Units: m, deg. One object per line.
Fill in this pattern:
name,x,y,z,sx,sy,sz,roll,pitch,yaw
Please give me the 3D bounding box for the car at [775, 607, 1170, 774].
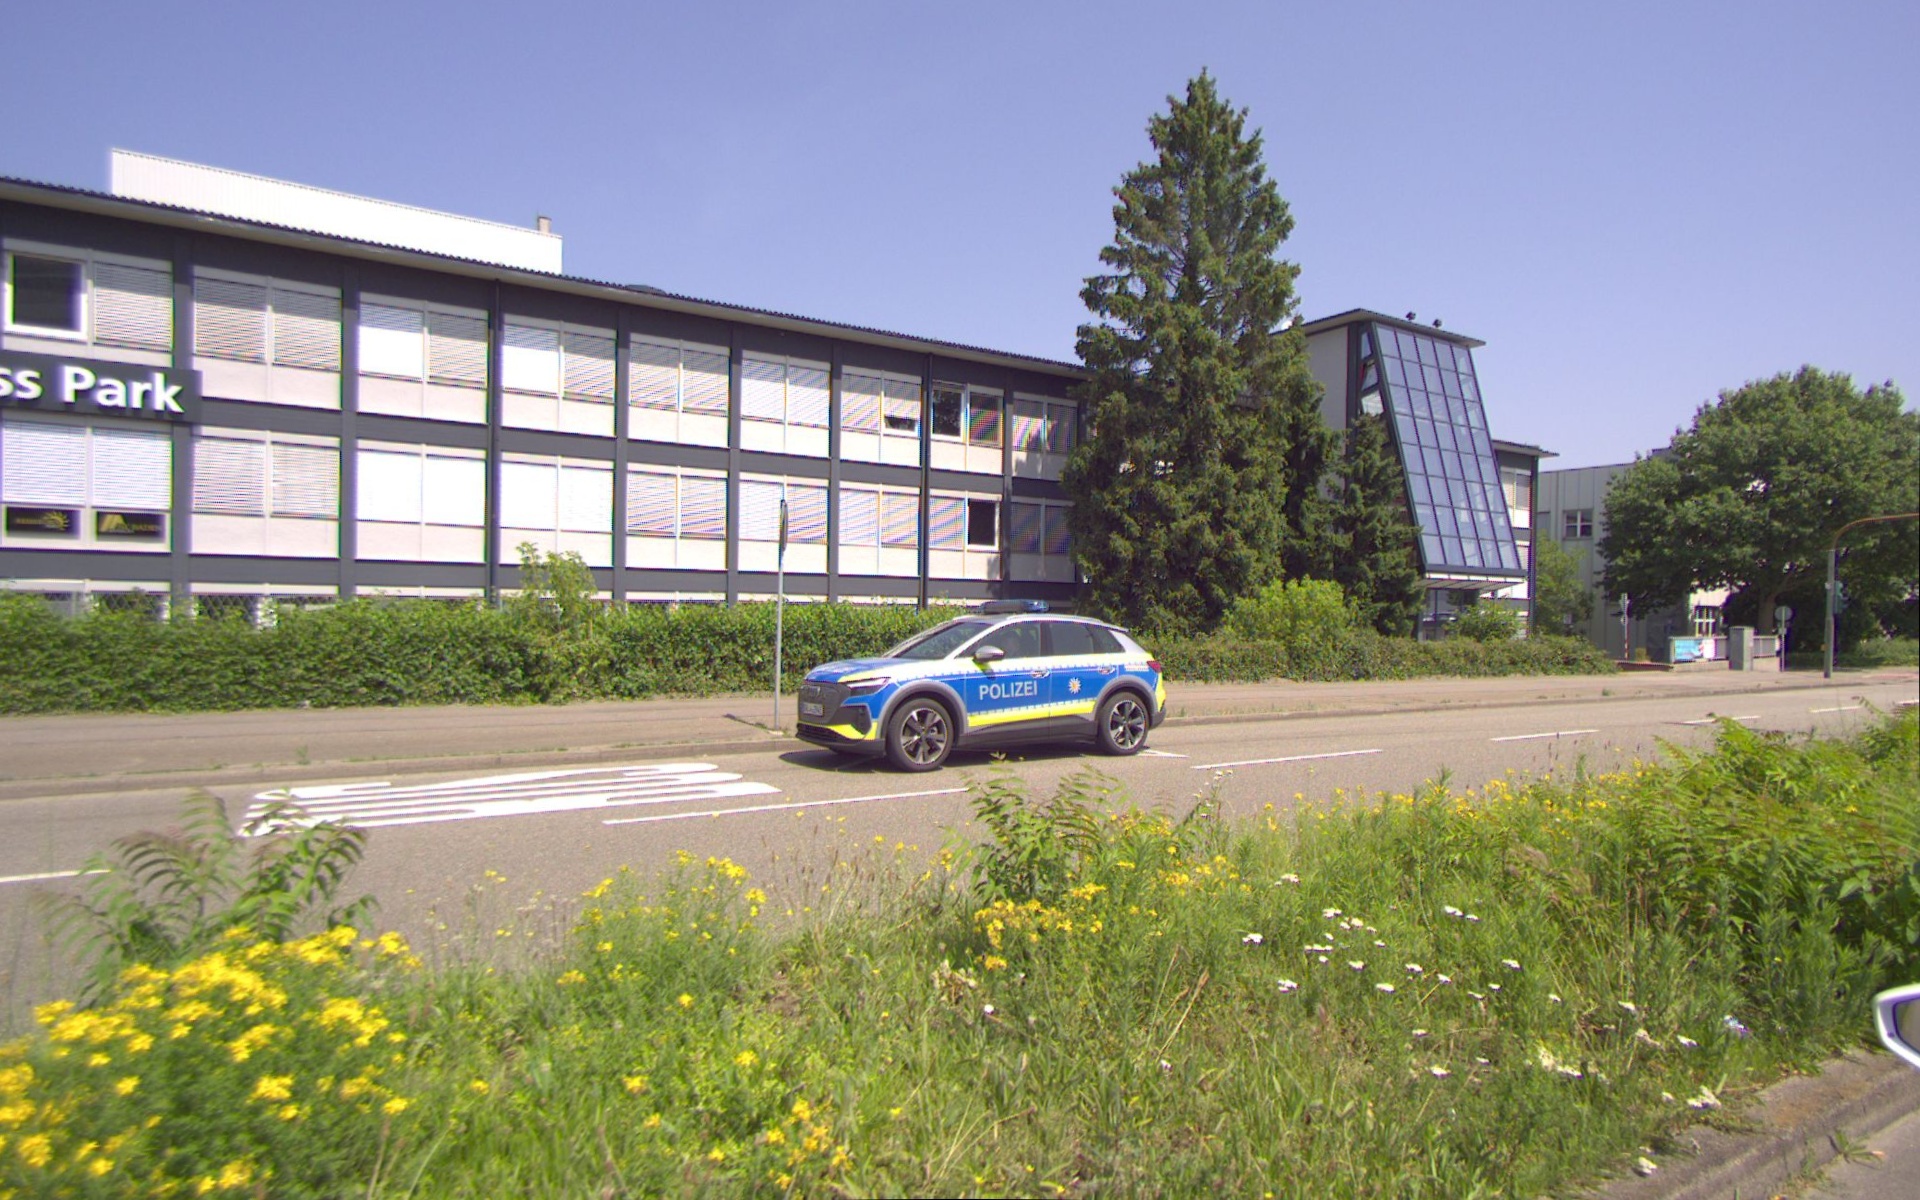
car,0.227,0.939,11.537,4.243,1.580,1.882,2,-2,-34
